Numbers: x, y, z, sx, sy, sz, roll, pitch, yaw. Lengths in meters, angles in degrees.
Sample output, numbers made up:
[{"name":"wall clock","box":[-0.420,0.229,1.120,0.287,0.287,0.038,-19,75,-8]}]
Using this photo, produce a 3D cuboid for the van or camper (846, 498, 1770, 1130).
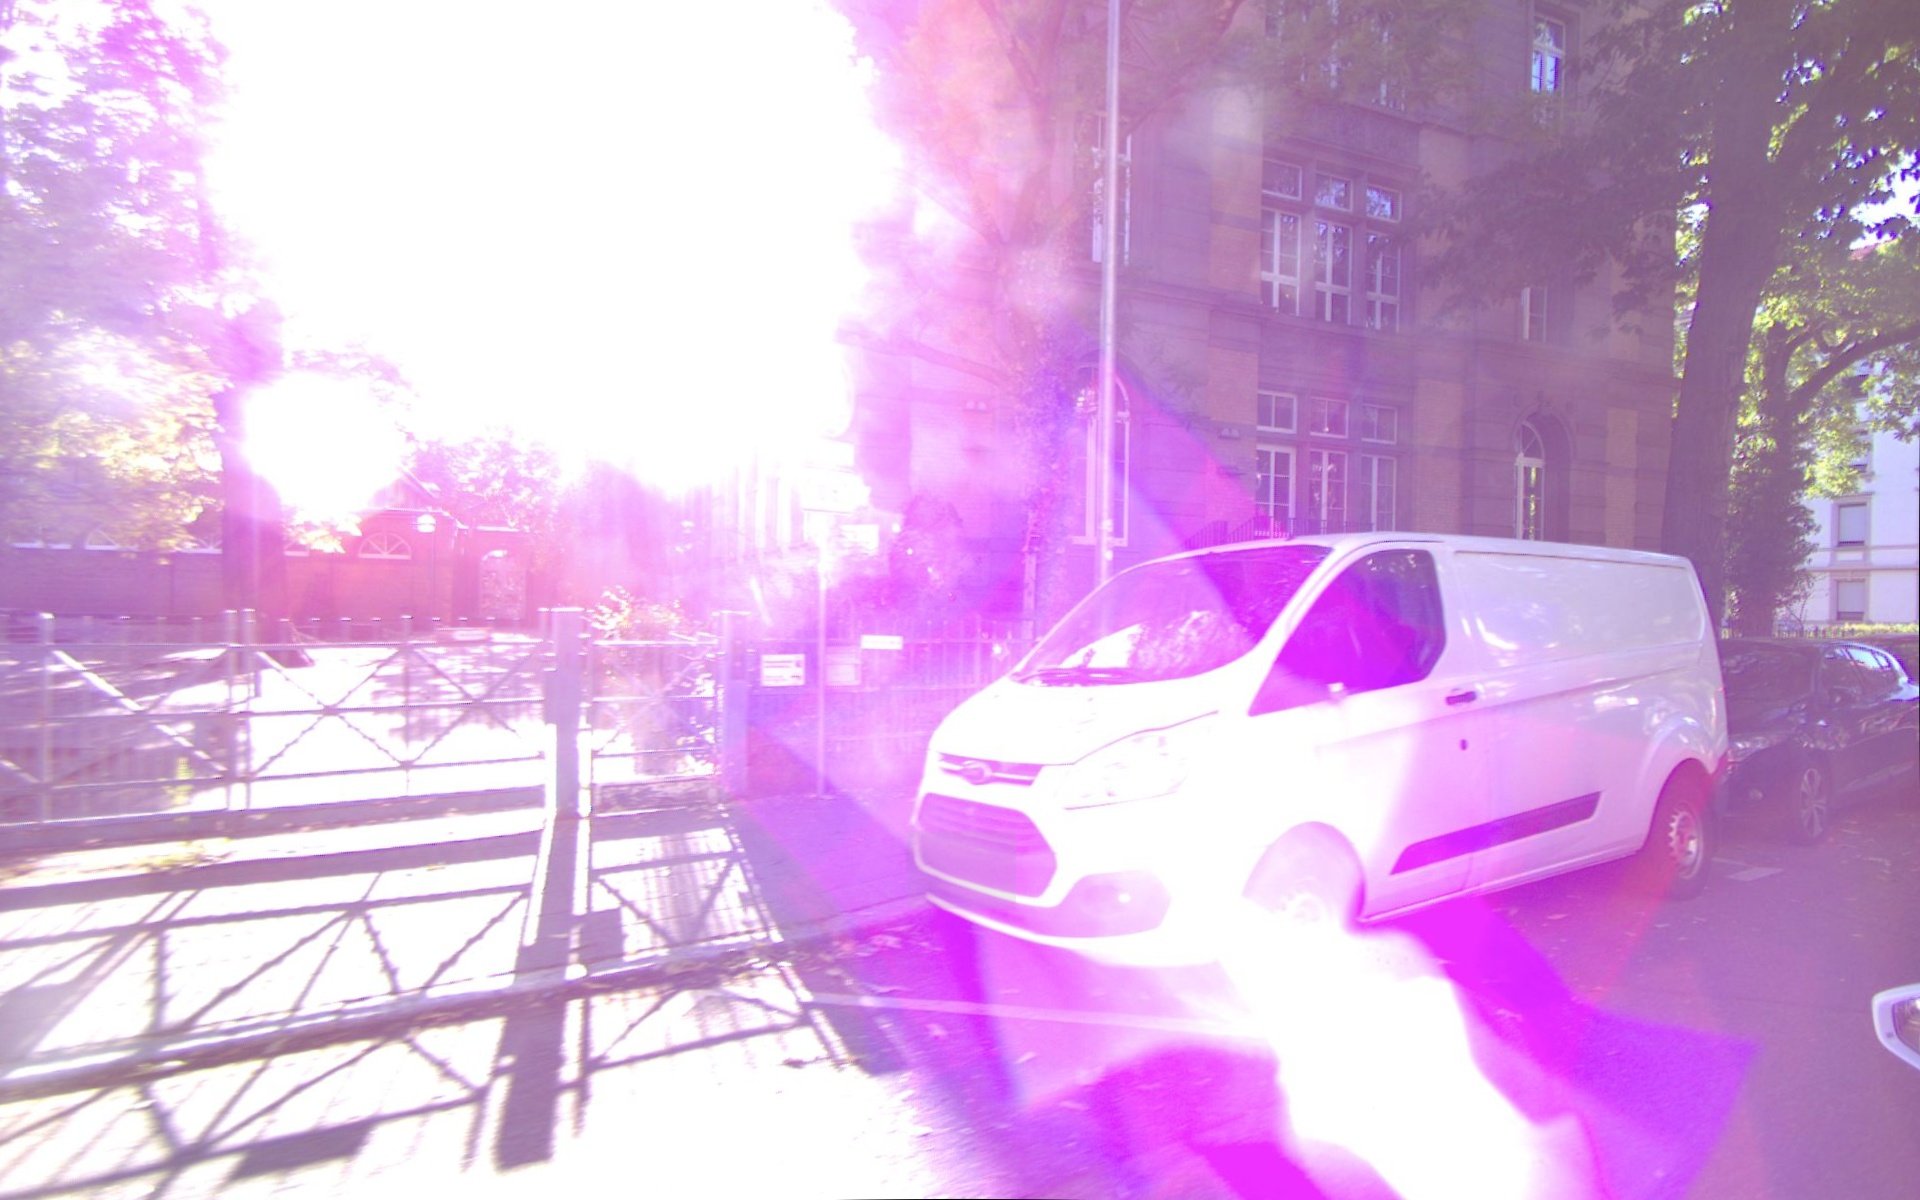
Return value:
[{"name":"van or camper","box":[2.216,0.778,5.523,5.404,2.005,1.911,1,-3,-34]}]

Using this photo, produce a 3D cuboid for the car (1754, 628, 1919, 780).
[{"name":"car","box":[10.743,1.072,11.324,3.984,1.479,1.593,1,-3,-33]}]

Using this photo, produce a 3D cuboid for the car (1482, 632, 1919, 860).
[{"name":"car","box":[6.723,1.027,8.606,4.555,1.476,1.990,1,-3,-33]}]

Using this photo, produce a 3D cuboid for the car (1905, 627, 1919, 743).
[{"name":"car","box":[15.152,1.144,14.162,4.092,1.574,1.814,1,-4,-35]}]
